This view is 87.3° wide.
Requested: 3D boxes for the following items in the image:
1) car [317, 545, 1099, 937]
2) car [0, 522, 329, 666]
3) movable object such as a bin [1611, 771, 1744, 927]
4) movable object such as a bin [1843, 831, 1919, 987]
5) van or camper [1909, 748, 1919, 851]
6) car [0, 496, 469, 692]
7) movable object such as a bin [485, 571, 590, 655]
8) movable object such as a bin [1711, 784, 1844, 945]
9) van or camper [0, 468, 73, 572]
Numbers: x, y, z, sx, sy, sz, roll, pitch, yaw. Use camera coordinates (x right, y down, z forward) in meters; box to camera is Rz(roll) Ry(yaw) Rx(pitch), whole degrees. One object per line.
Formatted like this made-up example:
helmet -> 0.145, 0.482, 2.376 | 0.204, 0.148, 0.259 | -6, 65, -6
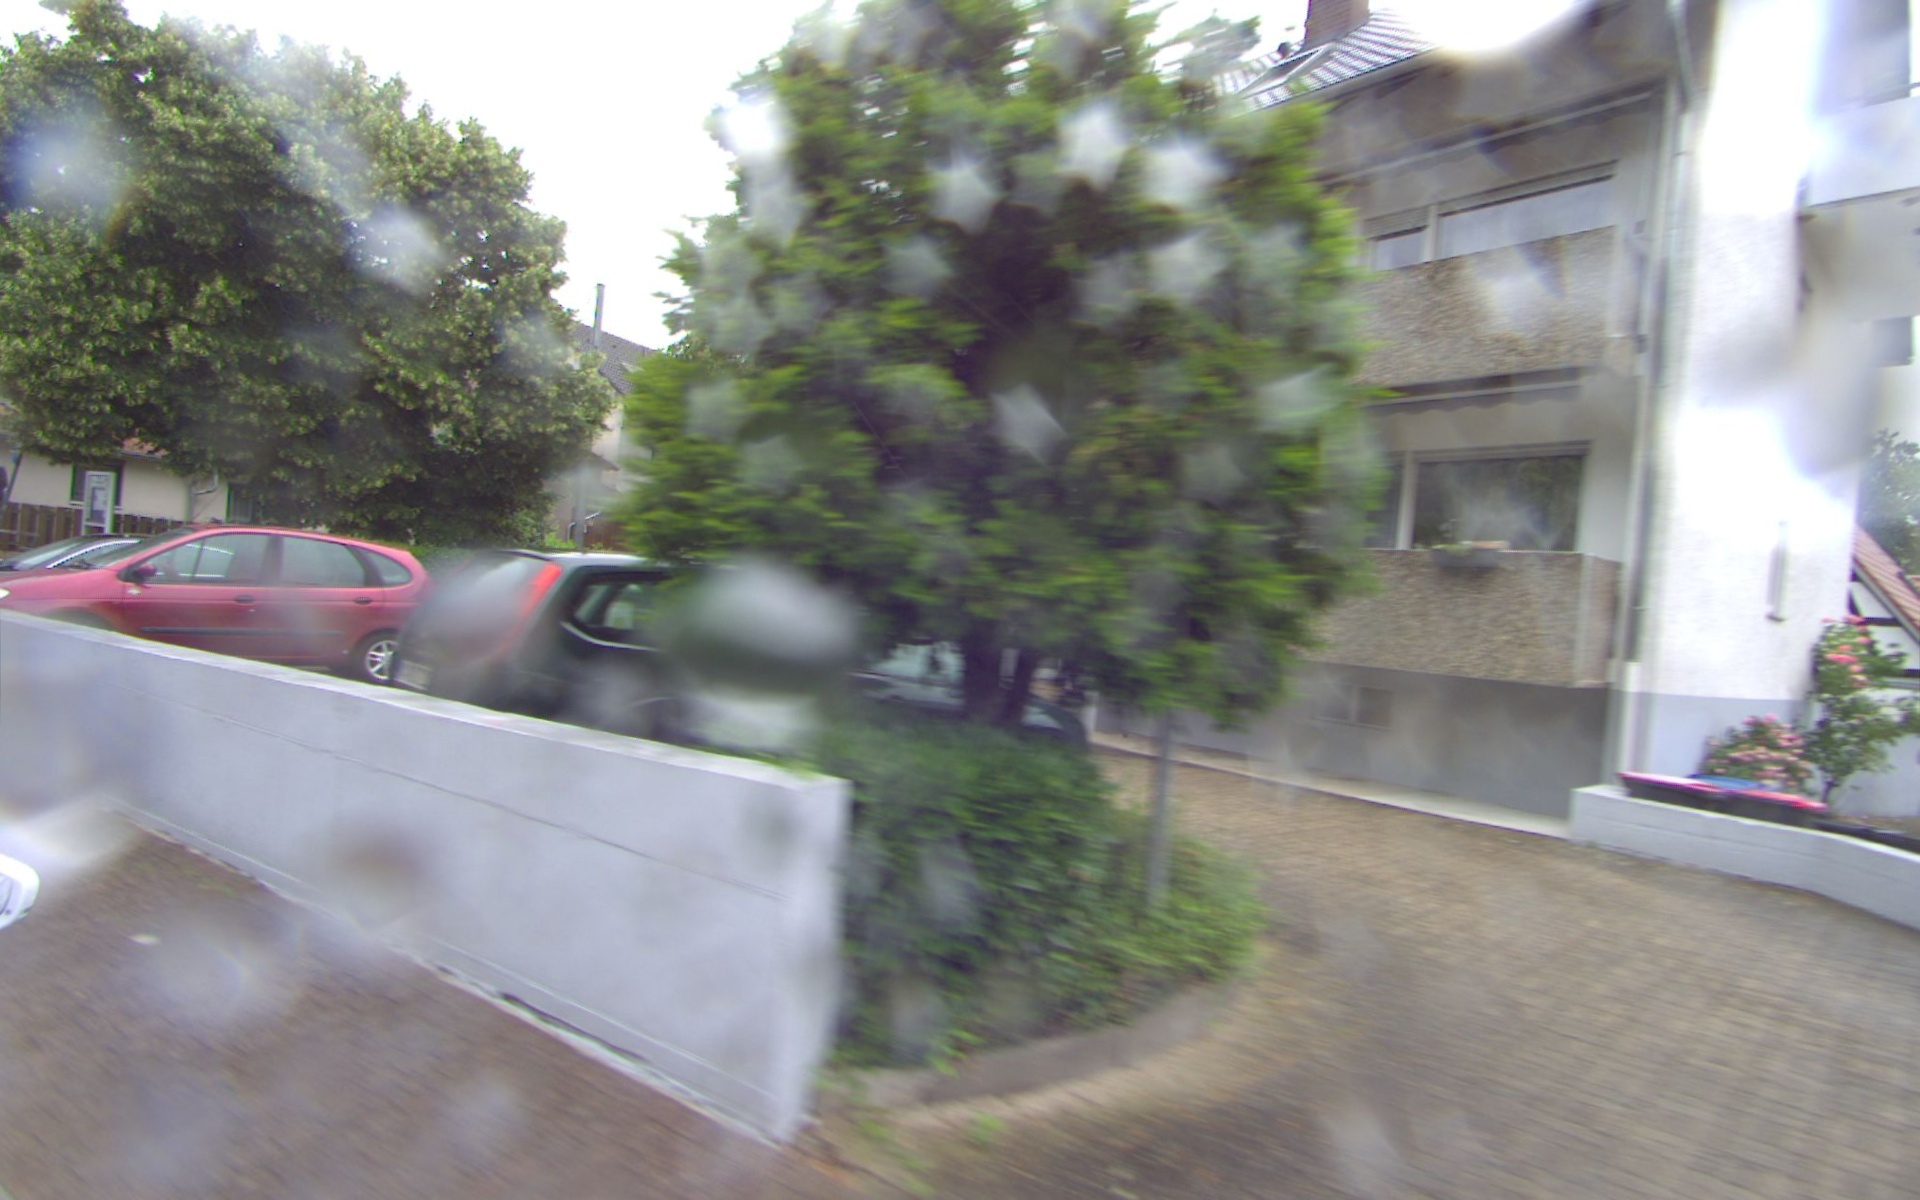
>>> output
car -> -1.171, 0.698, 6.049 | 1.673, 1.499, 4.216 | 6, 0, 45
car -> -9.804, -0.068, 11.520 | 1.725, 1.396, 3.948 | 7, 0, 37
movable object such as a bin -> 6.072, 2.074, 8.524 | 0.620, 1.131, 0.684 | 7, -1, -38
movable object such as a bin -> 6.750, 2.165, 6.990 | 0.617, 0.959, 0.653 | 7, -1, -22
van or camper -> 15.984, 2.769, 14.909 | 4.816, 2.038, 2.176 | 6, 0, -41
car -> -7.622, 0.000, 10.451 | 1.833, 1.609, 4.058 | 6, 0, 44
movable object such as a bin -> -7.813, 0.248, 18.645 | 1.136, 1.374, 1.244 | 7, 0, 31
movable object such as a bin -> 6.373, 2.034, 7.847 | 0.619, 1.079, 0.565 | 7, -1, -34
van or camper -> -20.623, -1.855, 19.218 | 1.843, 1.945, 5.084 | 6, -2, 26
